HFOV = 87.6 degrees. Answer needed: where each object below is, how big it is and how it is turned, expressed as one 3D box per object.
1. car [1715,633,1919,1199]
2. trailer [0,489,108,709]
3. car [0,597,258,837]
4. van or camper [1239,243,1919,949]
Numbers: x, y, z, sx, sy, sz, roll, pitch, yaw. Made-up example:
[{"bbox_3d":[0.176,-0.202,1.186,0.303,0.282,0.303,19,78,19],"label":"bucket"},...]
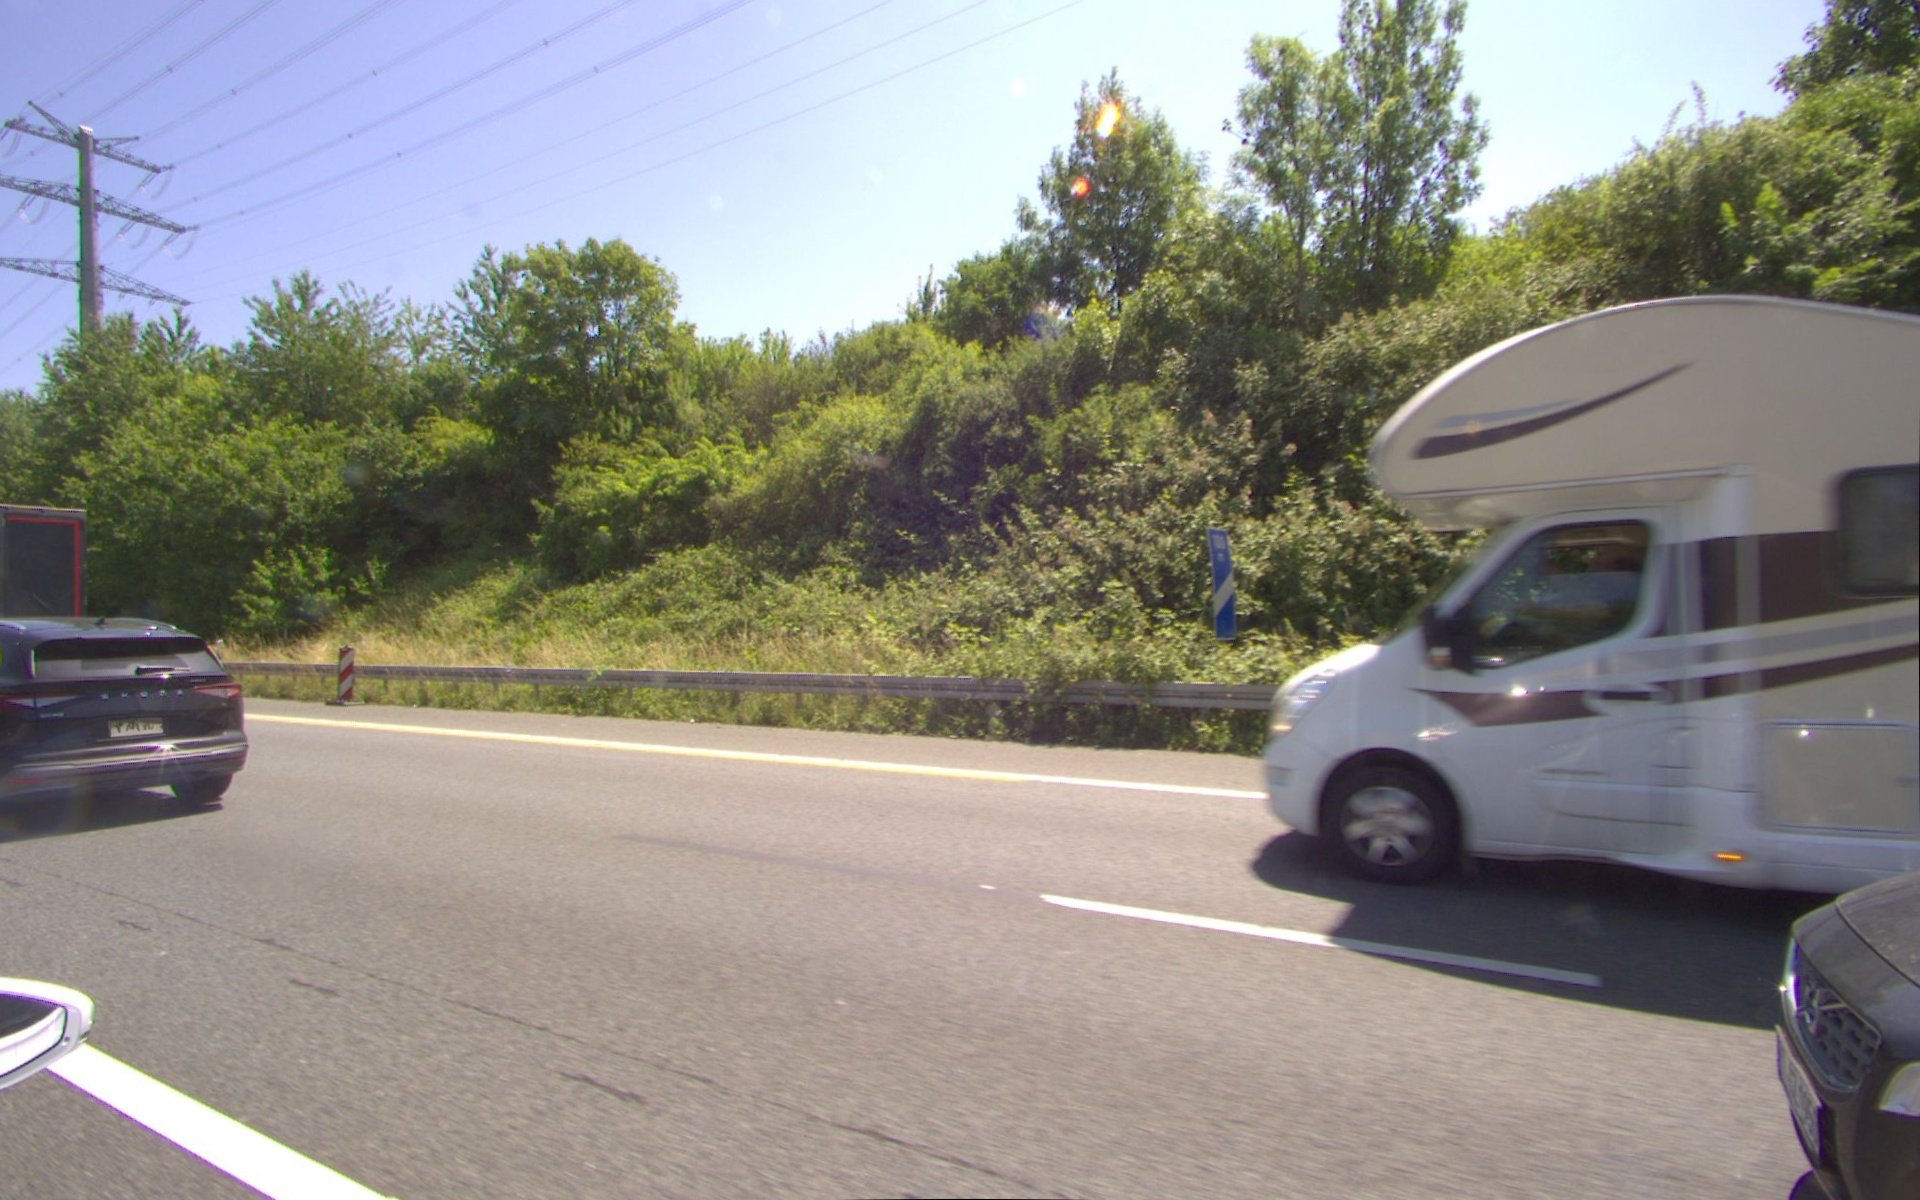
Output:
[{"bbox_3d":[3.796,0.749,1.175,4.444,1.437,1.793,-2,-2,31],"label":"car"},{"bbox_3d":[-23.273,0.140,22.089,12.919,4.098,2.780,-2,-2,31],"label":"trailer"},{"bbox_3d":[-8.196,0.892,8.768,4.364,1.676,1.699,-1,-2,30],"label":"car"},{"bbox_3d":[5.471,-0.004,4.969,7.523,3.082,2.365,-2,-2,32],"label":"van or camper"}]
